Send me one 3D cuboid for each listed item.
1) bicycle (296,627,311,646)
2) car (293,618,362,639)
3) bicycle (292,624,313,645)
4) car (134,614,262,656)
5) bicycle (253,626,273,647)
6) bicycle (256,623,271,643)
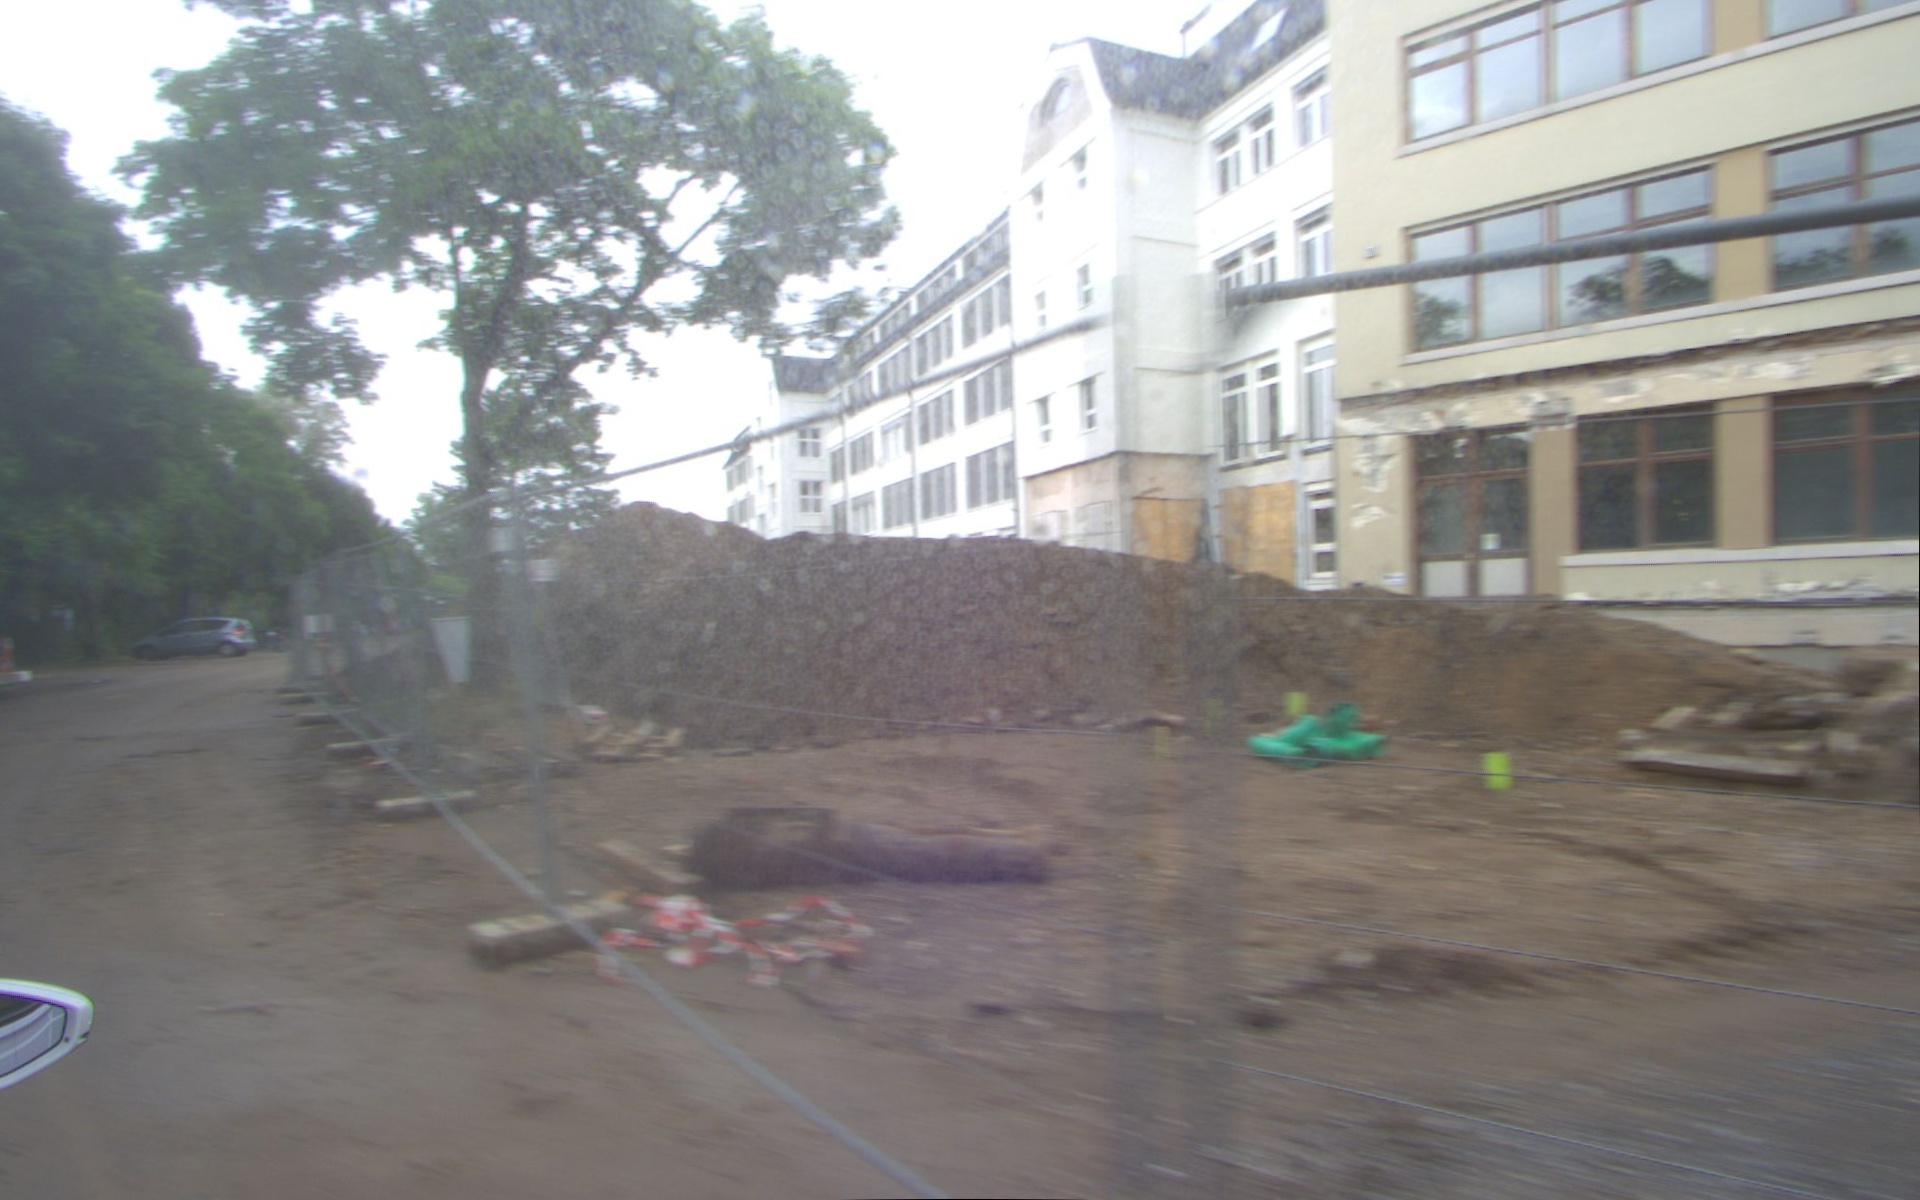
[{"bbox_3d":[-35.923,1.975,54.804,0.583,0.991,2.017,-1,0,-36],"label":"bicycle"},{"bbox_3d":[-47.902,2.138,75.841,1.973,1.528,3.976,-1,0,34],"label":"car"},{"bbox_3d":[-32.859,1.731,50.027,0.763,0.991,2.017,-1,0,-36],"label":"bicycle"},{"bbox_3d":[-30.226,1.355,39.854,3.650,1.520,1.862,-1,0,-22],"label":"car"},{"bbox_3d":[-34.151,1.783,49.065,0.763,0.991,2.017,-1,0,-36],"label":"bicycle"},{"bbox_3d":[-35.494,1.668,50.999,0.583,0.991,2.017,-1,0,-36],"label":"bicycle"}]
